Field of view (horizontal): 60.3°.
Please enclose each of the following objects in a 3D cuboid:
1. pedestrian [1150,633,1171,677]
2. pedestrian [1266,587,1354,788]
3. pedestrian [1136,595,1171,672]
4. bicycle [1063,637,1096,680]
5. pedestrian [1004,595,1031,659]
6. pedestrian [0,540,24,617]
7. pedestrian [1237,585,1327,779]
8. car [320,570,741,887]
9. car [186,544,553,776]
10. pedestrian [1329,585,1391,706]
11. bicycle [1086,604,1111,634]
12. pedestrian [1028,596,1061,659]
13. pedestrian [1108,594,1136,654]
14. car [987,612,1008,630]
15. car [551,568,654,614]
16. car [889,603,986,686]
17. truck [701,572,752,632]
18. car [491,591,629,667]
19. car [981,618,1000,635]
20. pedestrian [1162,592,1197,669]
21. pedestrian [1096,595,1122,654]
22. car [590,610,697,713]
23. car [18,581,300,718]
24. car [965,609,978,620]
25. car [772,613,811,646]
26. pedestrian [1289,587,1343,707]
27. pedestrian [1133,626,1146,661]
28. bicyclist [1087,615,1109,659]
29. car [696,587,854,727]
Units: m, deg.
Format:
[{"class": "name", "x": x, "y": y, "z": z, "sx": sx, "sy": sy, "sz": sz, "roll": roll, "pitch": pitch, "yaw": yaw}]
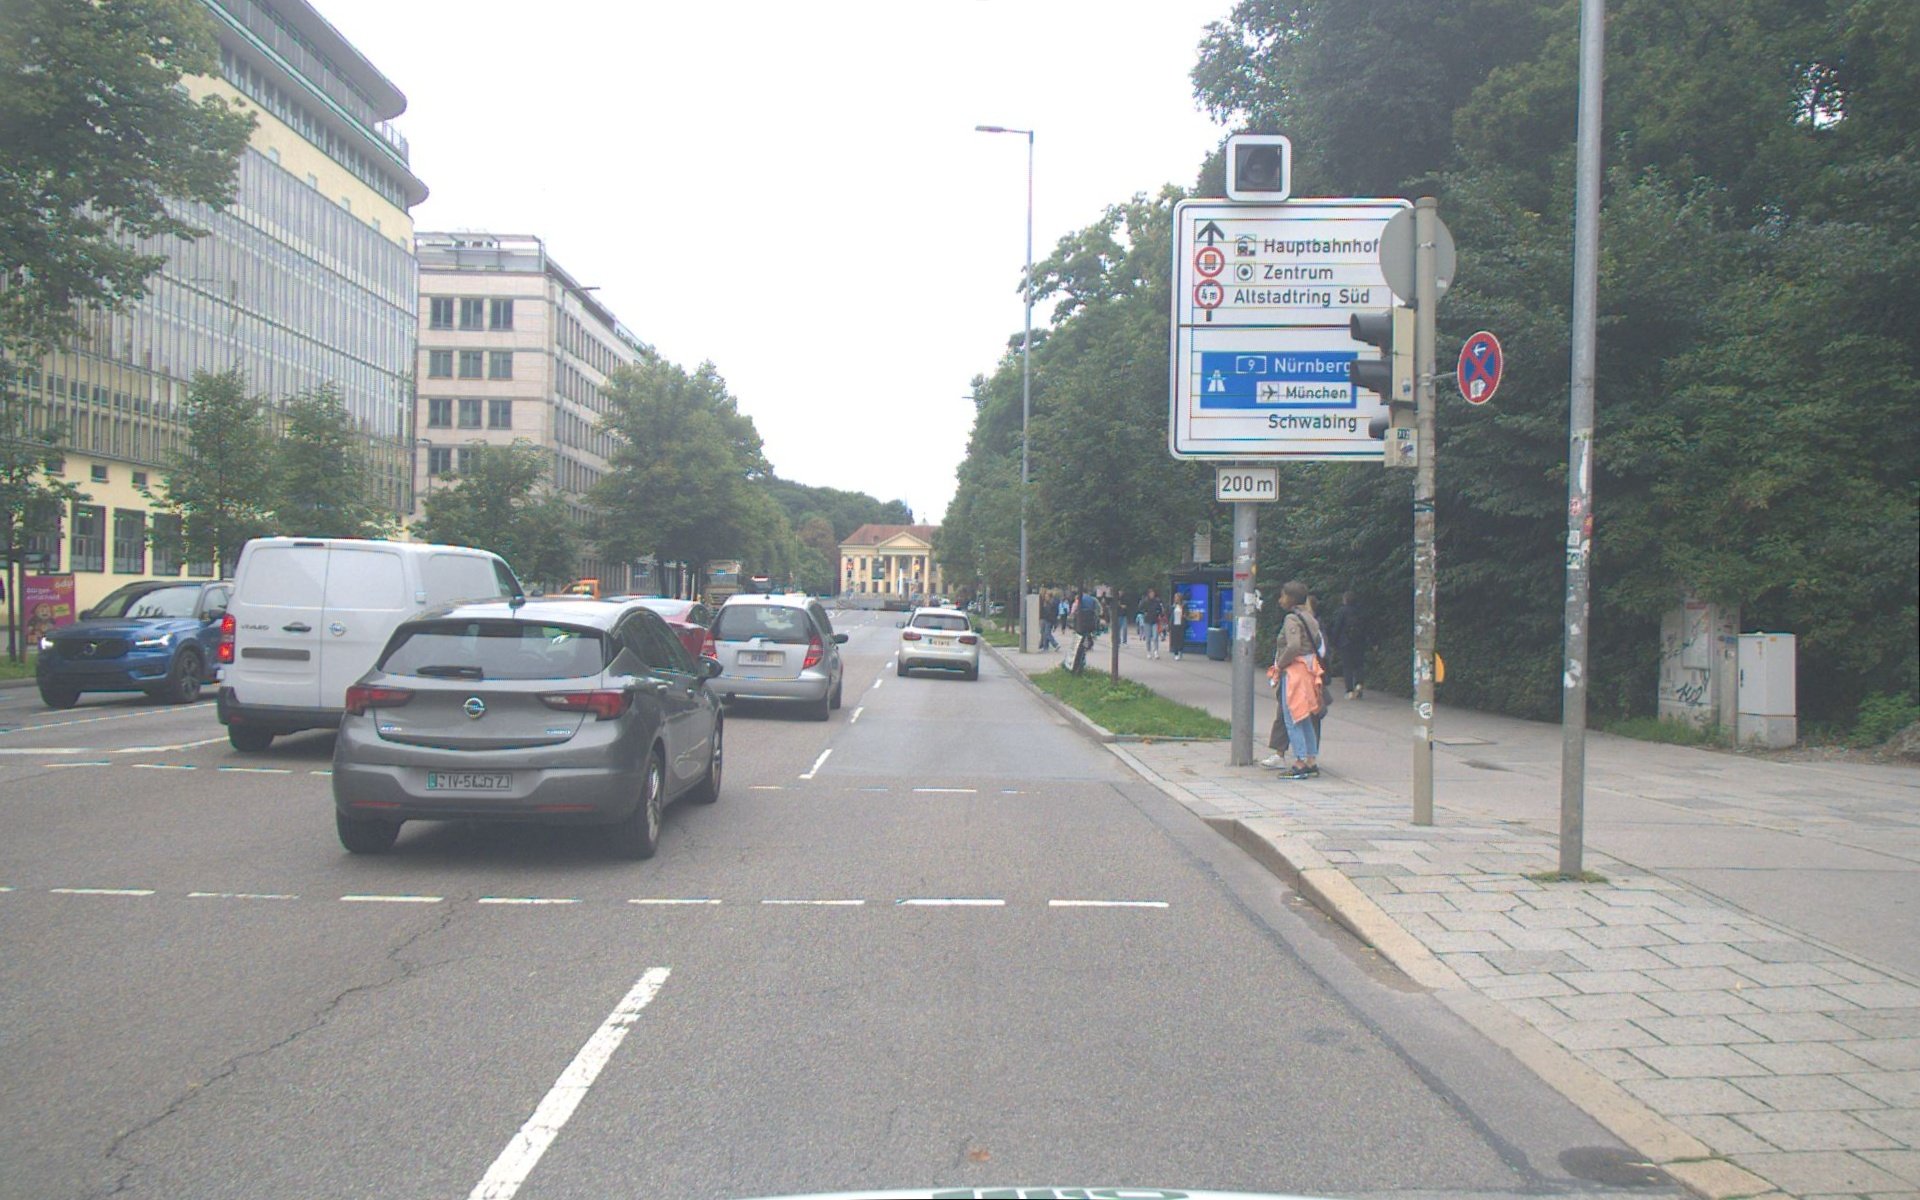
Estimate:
[{"class": "pedestrian", "x": 7.967, "y": 2.173, "z": 65.749, "sx": 0.711, "sy": 1.720, "sz": 0.648, "roll": 2, "pitch": -1, "yaw": 4}, {"class": "pedestrian", "x": 3.182, "y": 0.783, "z": 15.077, "sx": 0.597, "sy": 1.791, "sz": 0.634, "roll": 1, "pitch": 0, "yaw": -8}, {"class": "pedestrian", "x": 5.002, "y": 0.851, "z": 42.755, "sx": 0.693, "sy": 1.949, "sz": 0.956, "roll": 2, "pitch": -1, "yaw": -1}, {"class": "bicycle", "x": 2.448, "y": 1.180, "z": 33.944, "sx": 0.483, "sy": 0.808, "sz": 1.889, "roll": 2, "pitch": 0, "yaw": -1}, {"class": "pedestrian", "x": 1.681, "y": 0.789, "z": 48.421, "sx": 0.693, "sy": 1.840, "sz": 0.638, "roll": 2, "pitch": -1, "yaw": -1}, {"class": "pedestrian", "x": -22.730, "y": -0.512, "z": 39.147, "sx": 0.603, "sy": 1.808, "sz": 0.835, "roll": 2, "pitch": -1, "yaw": -1}, {"class": "pedestrian", "x": 3.049, "y": 0.766, "z": 15.711, "sx": 0.613, "sy": 1.791, "sz": 0.634, "roll": 2, "pitch": -1, "yaw": -9}, {"class": "car", "x": -2.493, "y": 0.676, "z": 10.592, "sx": 1.676, "sy": 1.579, "sz": 3.999, "roll": 2, "pitch": 0, "yaw": -1}, {"class": "car", "x": -5.462, "y": 0.518, "z": 16.092, "sx": 1.860, "sy": 1.880, "sz": 4.954, "roll": 1, "pitch": -1, "yaw": -1}, {"class": "pedestrian", "x": 6.353, "y": 0.714, "z": 26.278, "sx": 0.735, "sy": 1.871, "sz": 0.756, "roll": 2, "pitch": -1, "yaw": 0}, {"class": "bicycle", "x": 5.063, "y": 0.696, "z": 60.641, "sx": 0.661, "sy": 1.048, "sz": 2.012, "roll": 2, "pitch": 0, "yaw": -1}, {"class": "pedestrian", "x": 2.612, "y": 0.839, "z": 51.285, "sx": 0.790, "sy": 1.914, "sz": 0.542, "roll": 2, "pitch": -1, "yaw": 35}, {"class": "pedestrian", "x": 5.054, "y": 0.747, "z": 51.668, "sx": 0.693, "sy": 1.840, "sz": 0.950, "roll": 2, "pitch": -1, "yaw": -1}, {"class": "car", "x": 3.298, "y": 1.847, "z": 146.394, "sx": 1.790, "sy": 1.577, "sz": 4.751, "roll": 0, "pitch": 0, "yaw": 0}, {"class": "car", "x": -20.793, "y": -0.494, "z": 96.371, "sx": 5.569, "sy": 2.581, "sz": 2.154, "roll": 1, "pitch": 0, "yaw": -5}, {"class": "car", "x": -0.555, "y": 0.935, "z": 36.470, "sx": 1.745, "sy": 1.673, "sz": 3.995, "roll": 2, "pitch": 0, "yaw": -6}, {"class": "truck", "x": -15.784, "y": 0.129, "z": 112.199, "sx": 2.859, "sy": 3.840, "sz": 7.657, "roll": 2, "pitch": 0, "yaw": -5}, {"class": "car", "x": -8.212, "y": 0.569, "z": 34.367, "sx": 1.731, "sy": 1.448, "sz": 4.746, "roll": -1, "pitch": 0, "yaw": -1}, {"class": "car", "x": 2.942, "y": 2.530, "z": 158.452, "sx": 1.689, "sy": 1.490, "sz": 4.775, "roll": 0, "pitch": 0, "yaw": 0}, {"class": "pedestrian", "x": 5.669, "y": 0.778, "z": 42.819, "sx": 0.693, "sy": 1.949, "sz": 0.956, "roll": 2, "pitch": -1, "yaw": -1}, {"class": "pedestrian", "x": 4.769, "y": 0.777, "z": 52.834, "sx": 0.693, "sy": 1.840, "sz": 0.638, "roll": 2, "pitch": -1, "yaw": -1}, {"class": "car", "x": -5.804, "y": 1.078, "z": 30.388, "sx": 1.747, "sy": 1.683, "sz": 3.990, "roll": 2, "pitch": 0, "yaw": -11}, {"class": "car", "x": -10.855, "y": 0.632, "z": 22.795, "sx": 1.802, "sy": 1.684, "sz": 4.349, "roll": -1, "pitch": 0, "yaw": -1}, {"class": "car", "x": 1.598, "y": 2.004, "z": 230.953, "sx": 1.689, "sy": 1.347, "sz": 4.028, "roll": 1, "pitch": 1, "yaw": 0}, {"class": "car", "x": -9.659, "y": 1.692, "z": 94.999, "sx": 1.819, "sy": 1.779, "sz": 4.629, "roll": -1, "pitch": 0, "yaw": -1}, {"class": "pedestrian", "x": 5.699, "y": 0.746, "z": 26.481, "sx": 0.657, "sy": 1.871, "sz": 0.641, "roll": 2, "pitch": -1, "yaw": 0}, {"class": "pedestrian", "x": 7.171, "y": 1.729, "z": 66.182, "sx": 0.448, "sy": 1.349, "sz": 0.648, "roll": 2, "pitch": -1, "yaw": 4}, {"class": "bicyclist", "x": 5.058, "y": 1.350, "z": 60.696, "sx": 0.693, "sy": 1.589, "sz": 0.639, "roll": 2, "pitch": 0, "yaw": -1}, {"class": "car", "x": -2.434, "y": 0.718, "z": 22.659, "sx": 1.743, "sy": 1.683, "sz": 3.999, "roll": 2, "pitch": 0, "yaw": -1}]
